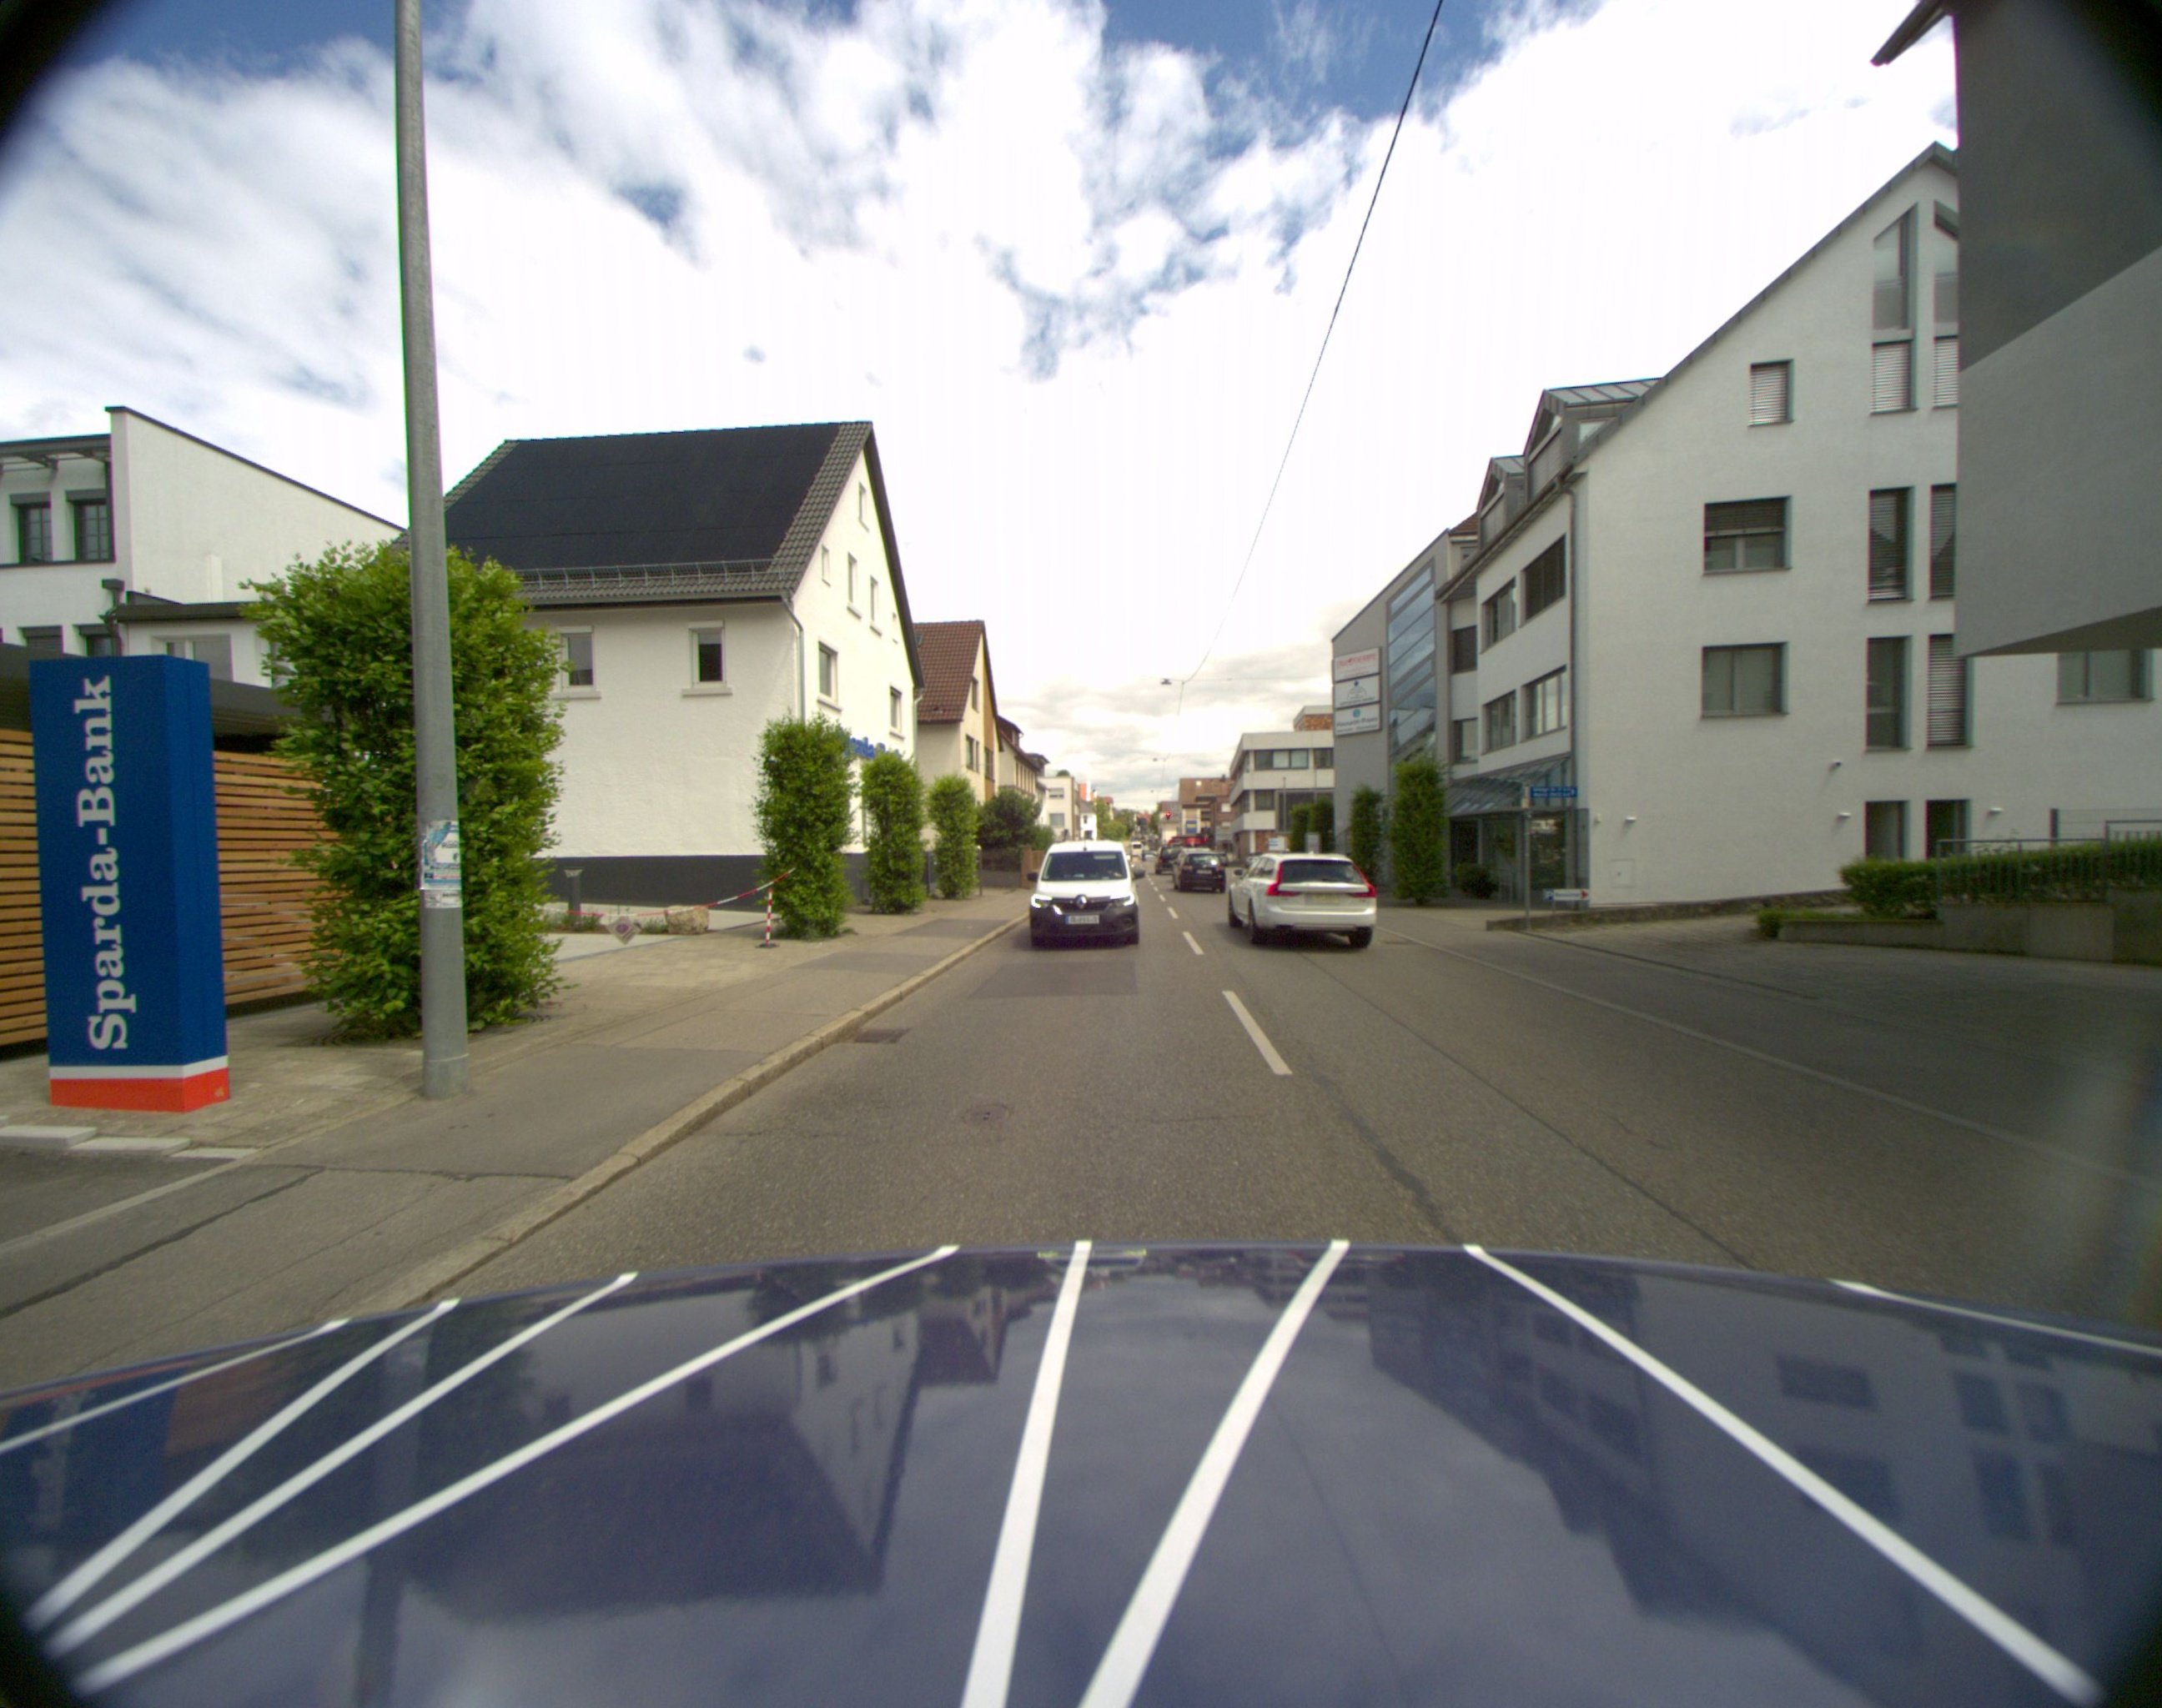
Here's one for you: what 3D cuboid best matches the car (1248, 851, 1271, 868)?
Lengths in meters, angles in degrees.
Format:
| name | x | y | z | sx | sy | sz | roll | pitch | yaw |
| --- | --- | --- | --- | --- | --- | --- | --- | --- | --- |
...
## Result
| name | x | y | z | sx | sy | sz | roll | pitch | yaw |
| --- | --- | --- | --- | --- | --- | --- | --- | --- | --- |
| car | 15.388 | 0.474 | 65.625 | 1.823 | 1.321 | 4.239 | -2 | 1 | 12 |

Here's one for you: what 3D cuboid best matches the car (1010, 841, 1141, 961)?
| name | x | y | z | sx | sy | sz | roll | pitch | yaw |
| --- | --- | --- | --- | --- | --- | --- | --- | --- | --- |
| car | 0.103 | 0.690 | 14.172 | 1.870 | 1.805 | 5.008 | -2 | 1 | 6 |

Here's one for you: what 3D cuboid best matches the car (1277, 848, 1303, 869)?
| name | x | y | z | sx | sy | sz | roll | pitch | yaw |
| --- | --- | --- | --- | --- | --- | --- | --- | --- | --- |
| car | 17.779 | 0.361 | 64.797 | 1.896 | 1.687 | 3.803 | 1 | 2 | 12 |

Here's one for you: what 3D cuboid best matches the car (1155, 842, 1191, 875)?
| name | x | y | z | sx | sy | sz | roll | pitch | yaw |
| --- | --- | --- | --- | --- | --- | --- | --- | --- | --- |
| car | 6.246 | 0.265 | 52.145 | 2.116 | 2.139 | 4.883 | 0 | 0 | 3 |

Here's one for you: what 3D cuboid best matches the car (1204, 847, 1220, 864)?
| name | x | y | z | sx | sy | sz | roll | pitch | yaw |
| --- | --- | --- | --- | --- | --- | --- | --- | --- | --- |
| car | 15.015 | 0.144 | 86.946 | 1.701 | 1.766 | 4.464 | -1 | 1 | 12 |

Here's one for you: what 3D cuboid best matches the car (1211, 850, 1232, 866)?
| name | x | y | z | sx | sy | sz | roll | pitch | yaw |
| --- | --- | --- | --- | --- | --- | --- | --- | --- | --- |
| car | 13.857 | 0.380 | 74.988 | 1.839 | 1.418 | 4.220 | -2 | 1 | 8 |

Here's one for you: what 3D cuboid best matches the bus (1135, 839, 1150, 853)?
| name | x | y | z | sx | sy | sz | roll | pitch | yaw |
| --- | --- | --- | --- | --- | --- | --- | --- | --- | --- |
| bus | 14.765 | -1.952 | 183.132 | 3.132 | 3.239 | 9.752 | -2 | 1 | 3 |

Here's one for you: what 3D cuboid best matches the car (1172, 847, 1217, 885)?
| name | x | y | z | sx | sy | sz | roll | pitch | yaw |
| --- | --- | --- | --- | --- | --- | --- | --- | --- | --- |
| car | 5.738 | 0.551 | 38.930 | 1.990 | 1.727 | 4.797 | 2 | 1 | 5 |

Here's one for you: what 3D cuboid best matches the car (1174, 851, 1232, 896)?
| name | x | y | z | sx | sy | sz | roll | pitch | yaw |
| --- | --- | --- | --- | --- | --- | --- | --- | --- | --- |
| car | 4.626 | 0.700 | 29.389 | 1.836 | 1.575 | 4.038 | 1 | 1 | 4 |

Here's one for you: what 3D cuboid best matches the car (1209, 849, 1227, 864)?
| name | x | y | z | sx | sy | sz | roll | pitch | yaw |
| --- | --- | --- | --- | --- | --- | --- | --- | --- | --- |
| car | 14.729 | 0.226 | 81.665 | 1.808 | 1.521 | 4.003 | -2 | 1 | 12 |

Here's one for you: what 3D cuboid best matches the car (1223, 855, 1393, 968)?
| name | x | y | z | sx | sy | sz | roll | pitch | yaw |
| --- | --- | --- | --- | --- | --- | --- | --- | --- | --- |
| car | 3.764 | 0.842 | 13.536 | 1.901 | 1.551 | 4.802 | 2 | 1 | 5 |
